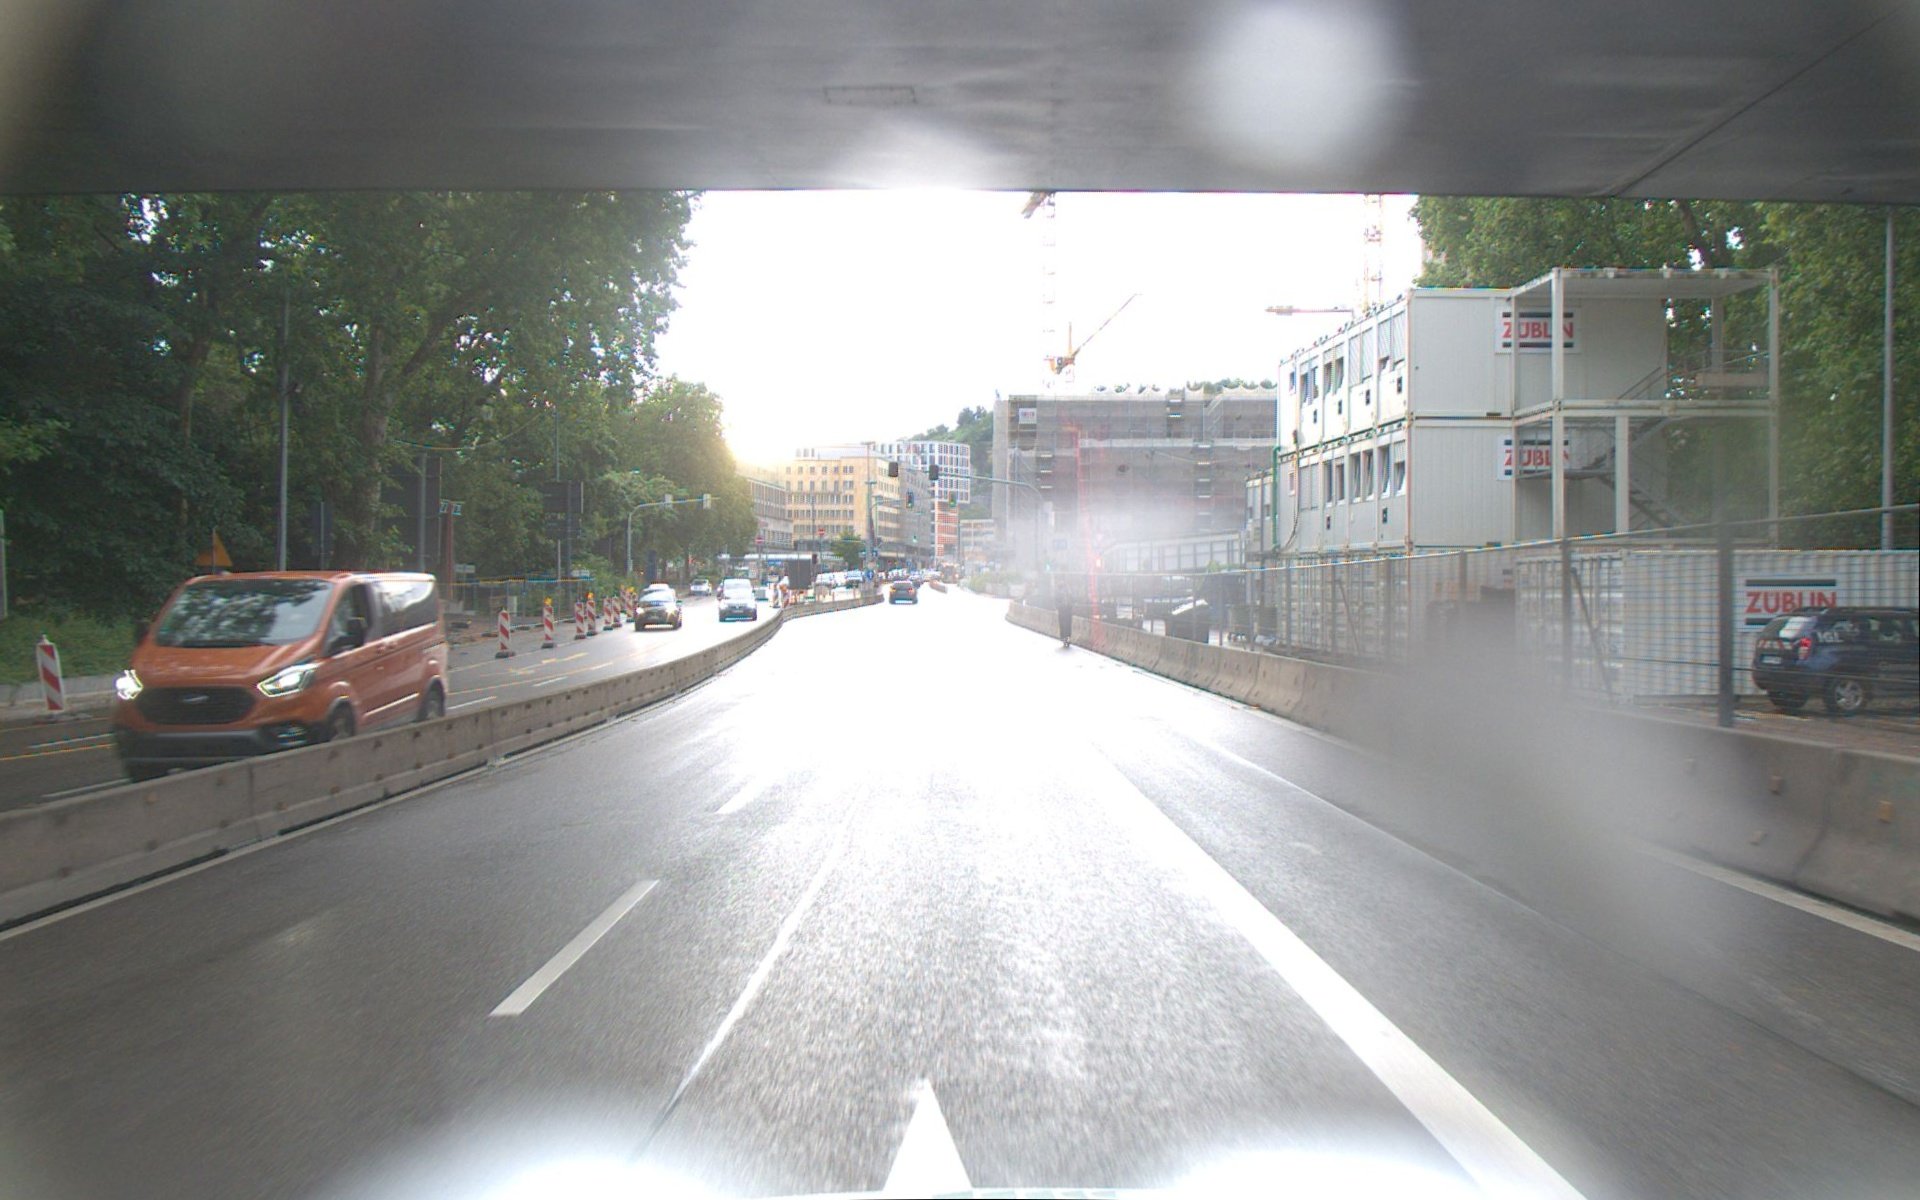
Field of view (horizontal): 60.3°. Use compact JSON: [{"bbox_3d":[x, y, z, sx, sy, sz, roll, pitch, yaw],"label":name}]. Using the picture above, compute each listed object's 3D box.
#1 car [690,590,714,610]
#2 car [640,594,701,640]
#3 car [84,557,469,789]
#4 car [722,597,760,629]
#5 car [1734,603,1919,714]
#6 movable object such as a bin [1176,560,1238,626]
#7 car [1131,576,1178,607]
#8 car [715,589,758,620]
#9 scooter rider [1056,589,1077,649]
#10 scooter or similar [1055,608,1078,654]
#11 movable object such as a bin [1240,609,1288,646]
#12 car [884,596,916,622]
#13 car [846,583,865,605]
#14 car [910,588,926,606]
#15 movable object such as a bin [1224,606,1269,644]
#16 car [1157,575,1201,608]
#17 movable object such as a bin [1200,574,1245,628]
[{"bbox_3d":[-23.348,0.015,149.988,1.956,1.568,4.438,-2,-2,-7],"label":"car"},{"bbox_3d":[-11.741,0.666,67.263,1.991,1.682,4.315,-1,1,-4],"label":"car"},{"bbox_3d":[-6.790,0.710,17.140,1.990,1.970,5.041,-2,-2,-2],"label":"car"},{"bbox_3d":[-10.150,0.595,76.860,1.679,1.362,4.055,-2,0,-7],"label":"car"},{"bbox_3d":[14.985,0.896,26.444,4.453,1.657,1.786,0,1,-4],"label":"car"},{"bbox_3d":[11.087,-0.343,74.406,1.772,2.858,3.860,0,2,-7],"label":"movable object such as a bin"},{"bbox_3d":[12.672,-0.571,107.989,1.876,2.009,5.154,0,1,-7],"label":"car"},{"bbox_3d":[-12.731,0.266,94.482,1.990,1.682,4.908,-2,0,-3],"label":"car"},{"bbox_3d":[3.230,0.566,50.235,0.585,1.817,0.997,0,0,0],"label":"scooter rider"},{"bbox_3d":[3.233,0.936,50.255,0.585,1.342,1.667,0,0,0],"label":"scooter or similar"},{"bbox_3d":[9.842,0.909,53.619,1.222,1.143,1.238,-2,-2,-3],"label":"movable object such as a bin"},{"bbox_3d":[-3.978,0.579,108.668,1.865,1.555,4.173,-2,-2,-5],"label":"car"},{"bbox_3d":[-11.436,-0.643,180.553,1.865,2.119,4.173,-2,-2,-5],"label":"car"},{"bbox_3d":[-5.187,-0.359,204.777,1.953,2.049,3.999,-2,-2,-1],"label":"car"},{"bbox_3d":[9.824,0.855,56.812,1.222,1.258,1.238,-2,-2,-3],"label":"movable object such as a bin"},{"bbox_3d":[13.504,-0.554,102.068,1.809,1.838,5.084,0,2,-3],"label":"car"},{"bbox_3d":[11.201,0.034,70.517,1.438,2.241,1.255,0,2,-26],"label":"movable object such as a bin"}]
